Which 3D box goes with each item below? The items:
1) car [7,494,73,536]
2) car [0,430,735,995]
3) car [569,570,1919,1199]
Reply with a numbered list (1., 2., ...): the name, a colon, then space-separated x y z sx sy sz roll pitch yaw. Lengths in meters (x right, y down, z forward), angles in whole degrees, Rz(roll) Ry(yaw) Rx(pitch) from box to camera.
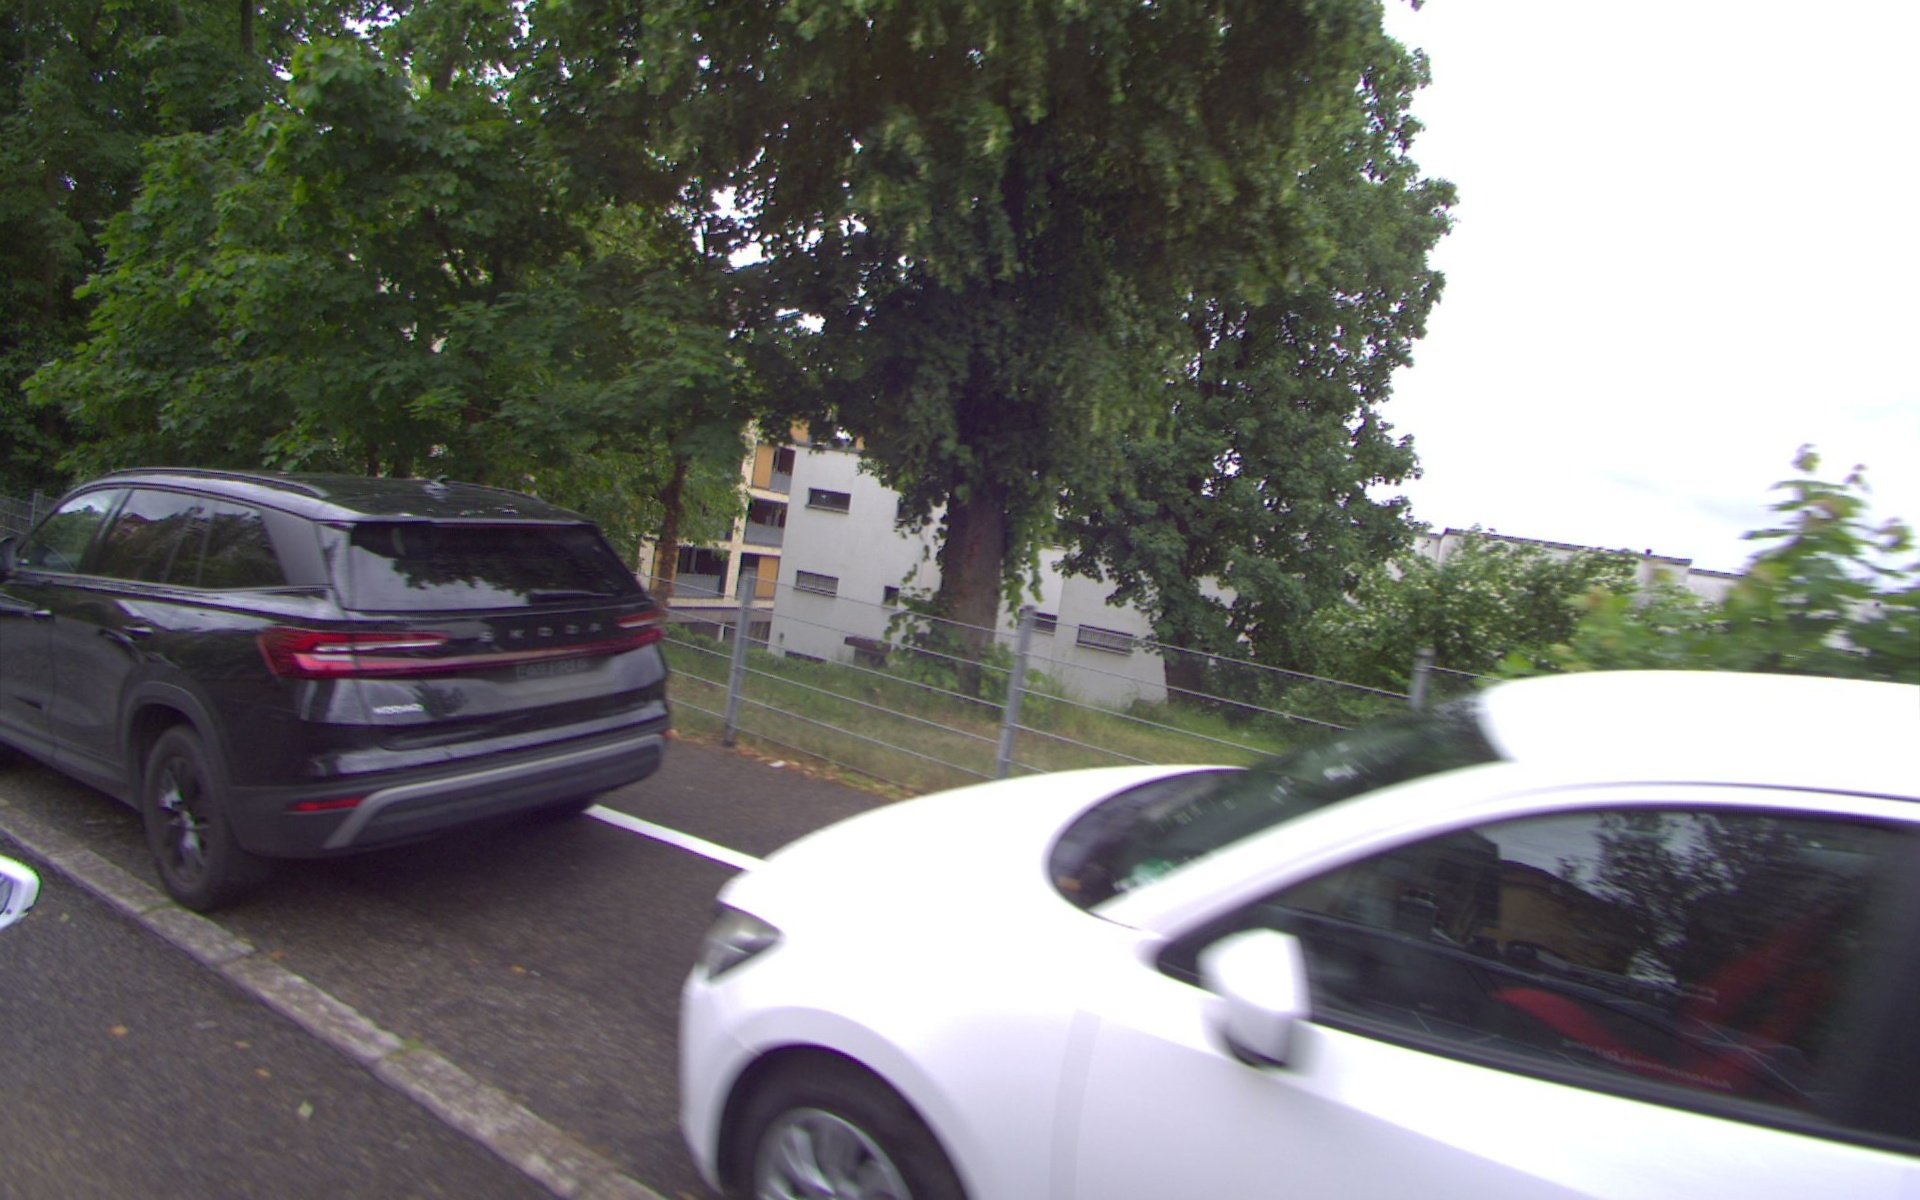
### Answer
1. car: -41.666 -3.878 45.635 1.768 1.447 3.744 8 1 -38
2. car: -3.551 0.151 5.097 4.724 1.706 1.821 7 3 32
3. car: 1.257 0.839 2.095 3.933 1.517 1.813 6 5 30
